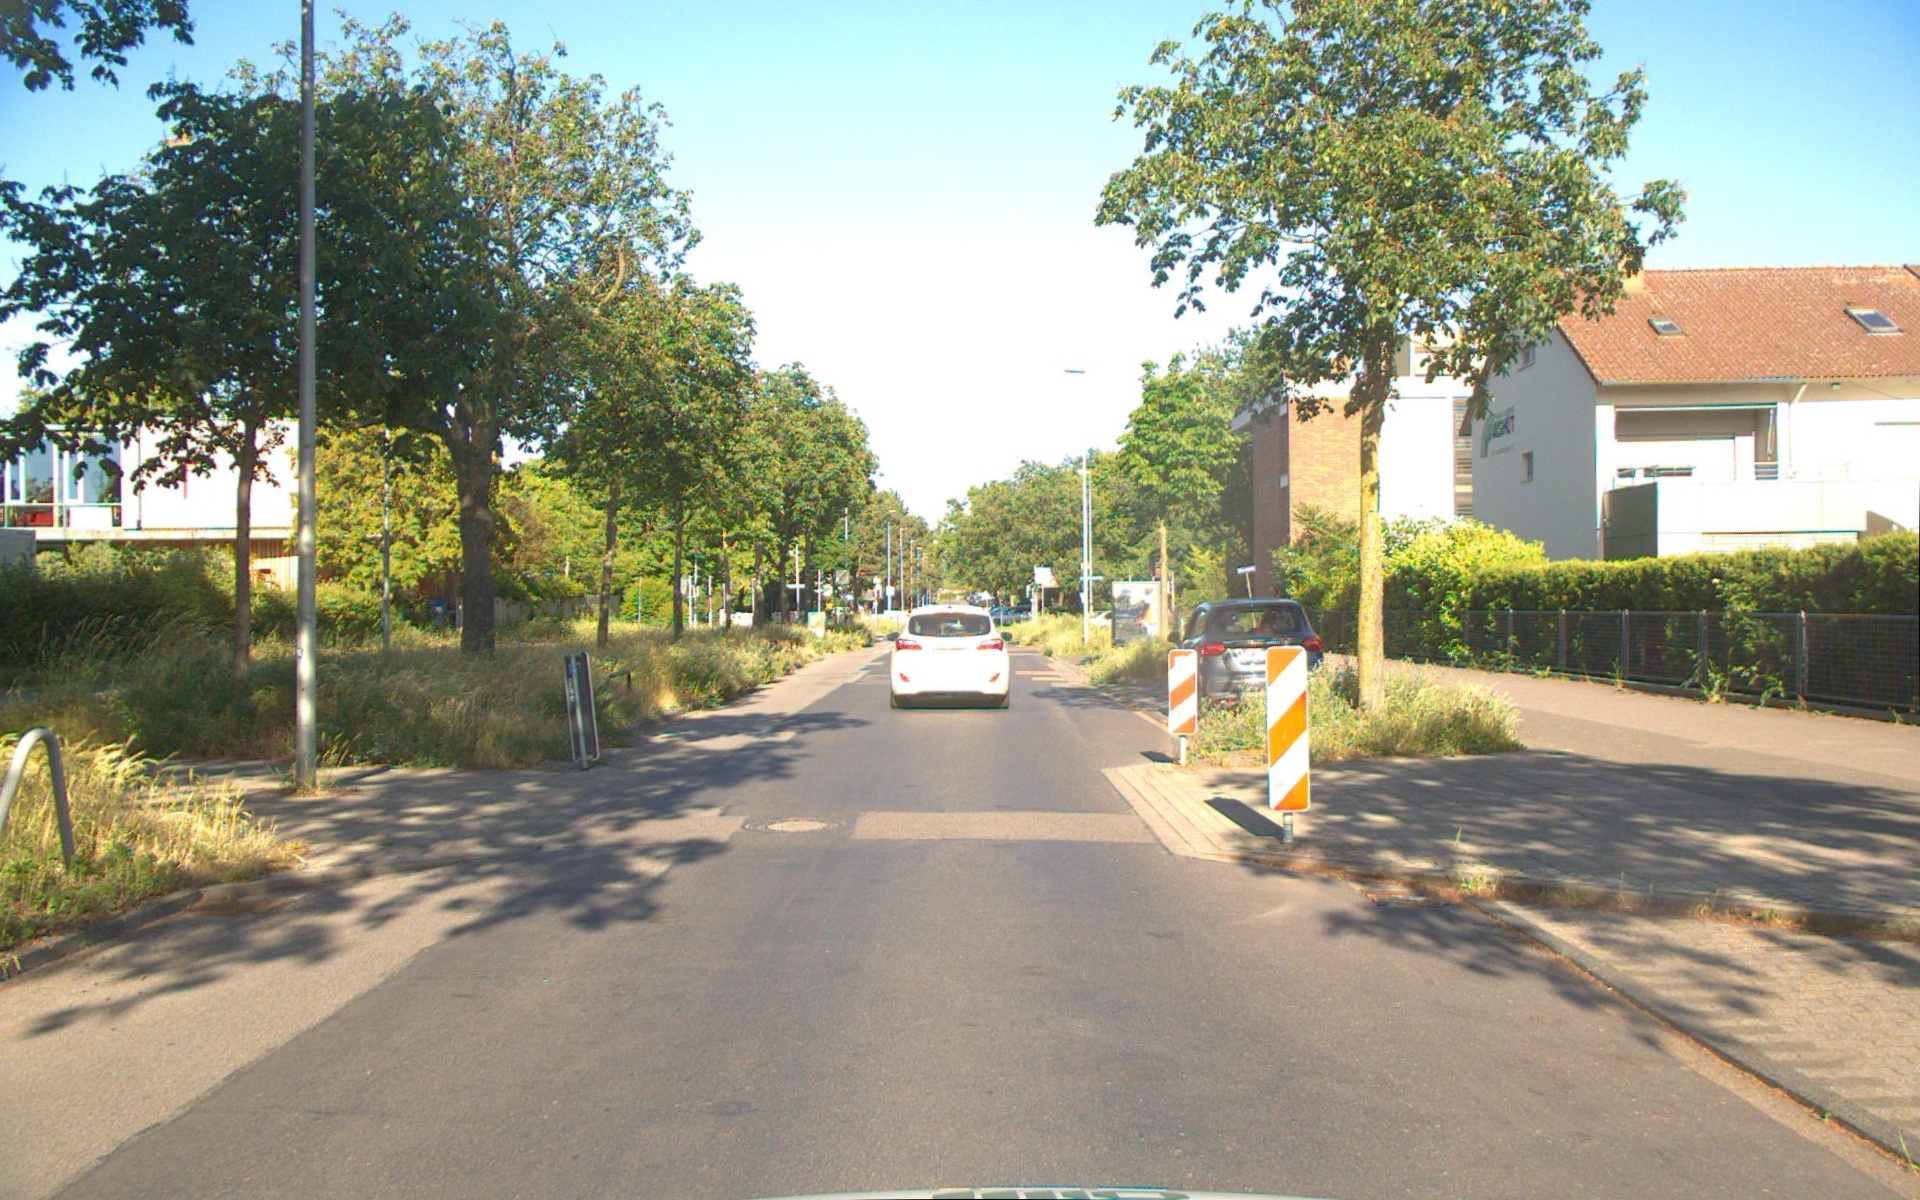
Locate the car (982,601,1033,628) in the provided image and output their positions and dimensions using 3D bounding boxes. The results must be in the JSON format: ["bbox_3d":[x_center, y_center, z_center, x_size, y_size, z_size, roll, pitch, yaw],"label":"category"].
[{"bbox_3d":[3.727,1.126,130.228,3.906,2.049,1.999,0,0,-2],"label":"car"}]

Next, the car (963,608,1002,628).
[{"bbox_3d":[2.304,1.818,169.438,3.906,2.049,1.999,0,0,-2],"label":"car"}]

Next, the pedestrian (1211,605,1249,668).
[{"bbox_3d":[8.837,1.176,54.207,1.090,2.049,0.921,0,0,0],"label":"pedestrian"}]

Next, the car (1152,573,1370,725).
[{"bbox_3d":[3.850,0.624,21.857,1.954,1.758,3.998,-2,-1,-2],"label":"car"}]

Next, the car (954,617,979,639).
[{"bbox_3d":[0.466,2.126,124.922,1.780,1.534,3.658,3,-1,0],"label":"car"}]

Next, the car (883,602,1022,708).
[{"bbox_3d":[-0.193,0.779,25.423,1.953,1.480,4.222,0,0,-3],"label":"car"}]

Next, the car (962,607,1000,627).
[{"bbox_3d":[2.183,1.800,172.158,3.906,2.049,1.999,0,0,-2],"label":"car"}]

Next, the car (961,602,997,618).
[{"bbox_3d":[2.087,1.106,182.436,3.907,1.780,1.999,0,0,-3],"label":"car"}]

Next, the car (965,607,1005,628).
[{"bbox_3d":[2.500,1.764,166.876,3.906,2.049,1.999,0,0,-2],"label":"car"}]
